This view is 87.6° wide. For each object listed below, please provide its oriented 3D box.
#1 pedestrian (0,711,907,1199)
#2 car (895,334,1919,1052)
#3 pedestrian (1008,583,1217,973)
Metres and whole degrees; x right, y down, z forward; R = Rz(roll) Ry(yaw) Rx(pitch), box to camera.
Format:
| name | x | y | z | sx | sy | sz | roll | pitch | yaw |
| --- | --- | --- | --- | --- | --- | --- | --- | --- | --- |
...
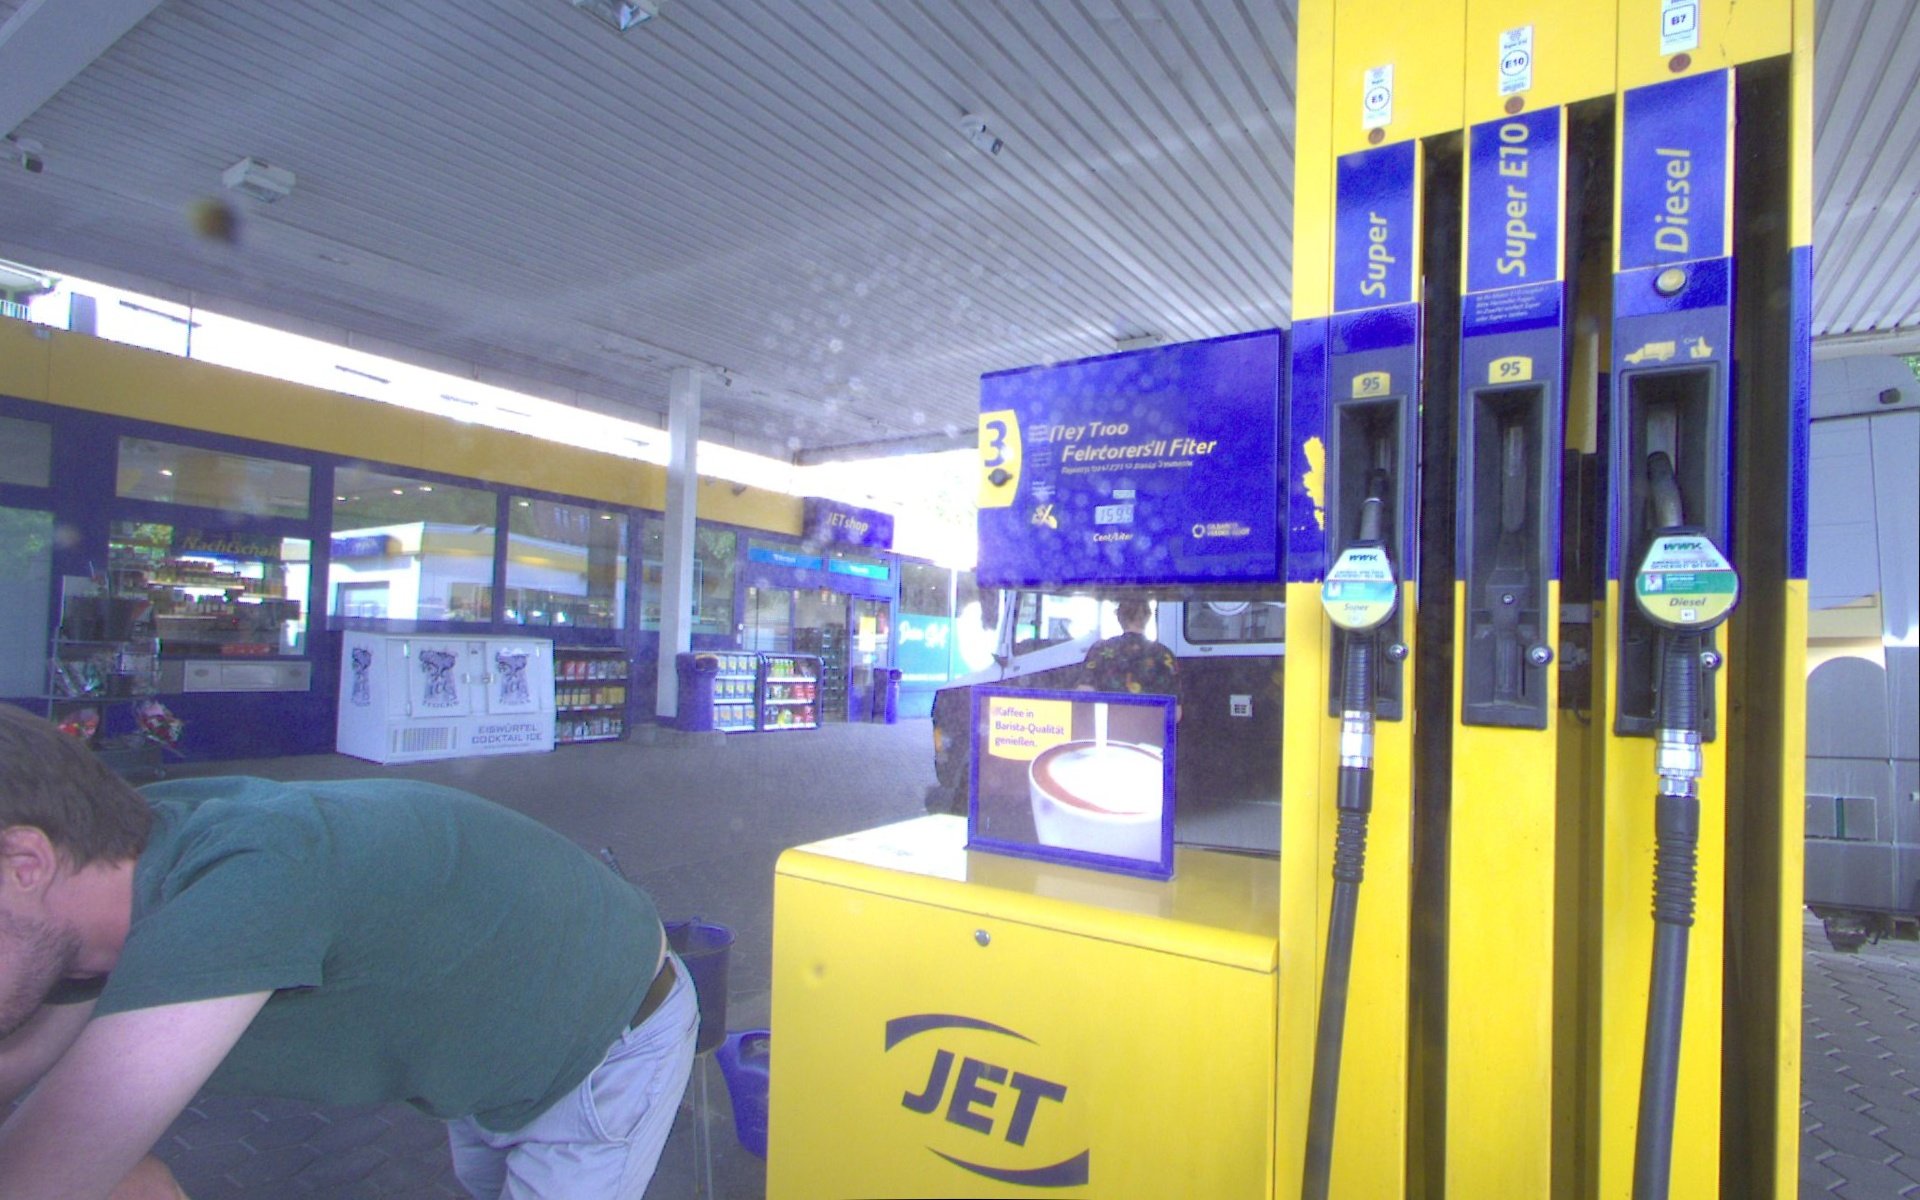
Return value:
| name | x | y | z | sx | sy | sz | roll | pitch | yaw |
| --- | --- | --- | --- | --- | --- | --- | --- | --- | --- |
| pedestrian | -0.538 | 0.806 | 1.076 | 0.664 | 1.298 | 0.749 | -1 | -1 | 31 |
| car | 2.385 | 0.411 | 6.021 | 5.219 | 2.724 | 2.250 | 0 | -3 | 34 |
| pedestrian | 0.781 | 0.836 | 5.164 | 0.961 | 1.785 | 0.980 | 0 | -1 | 9 |
